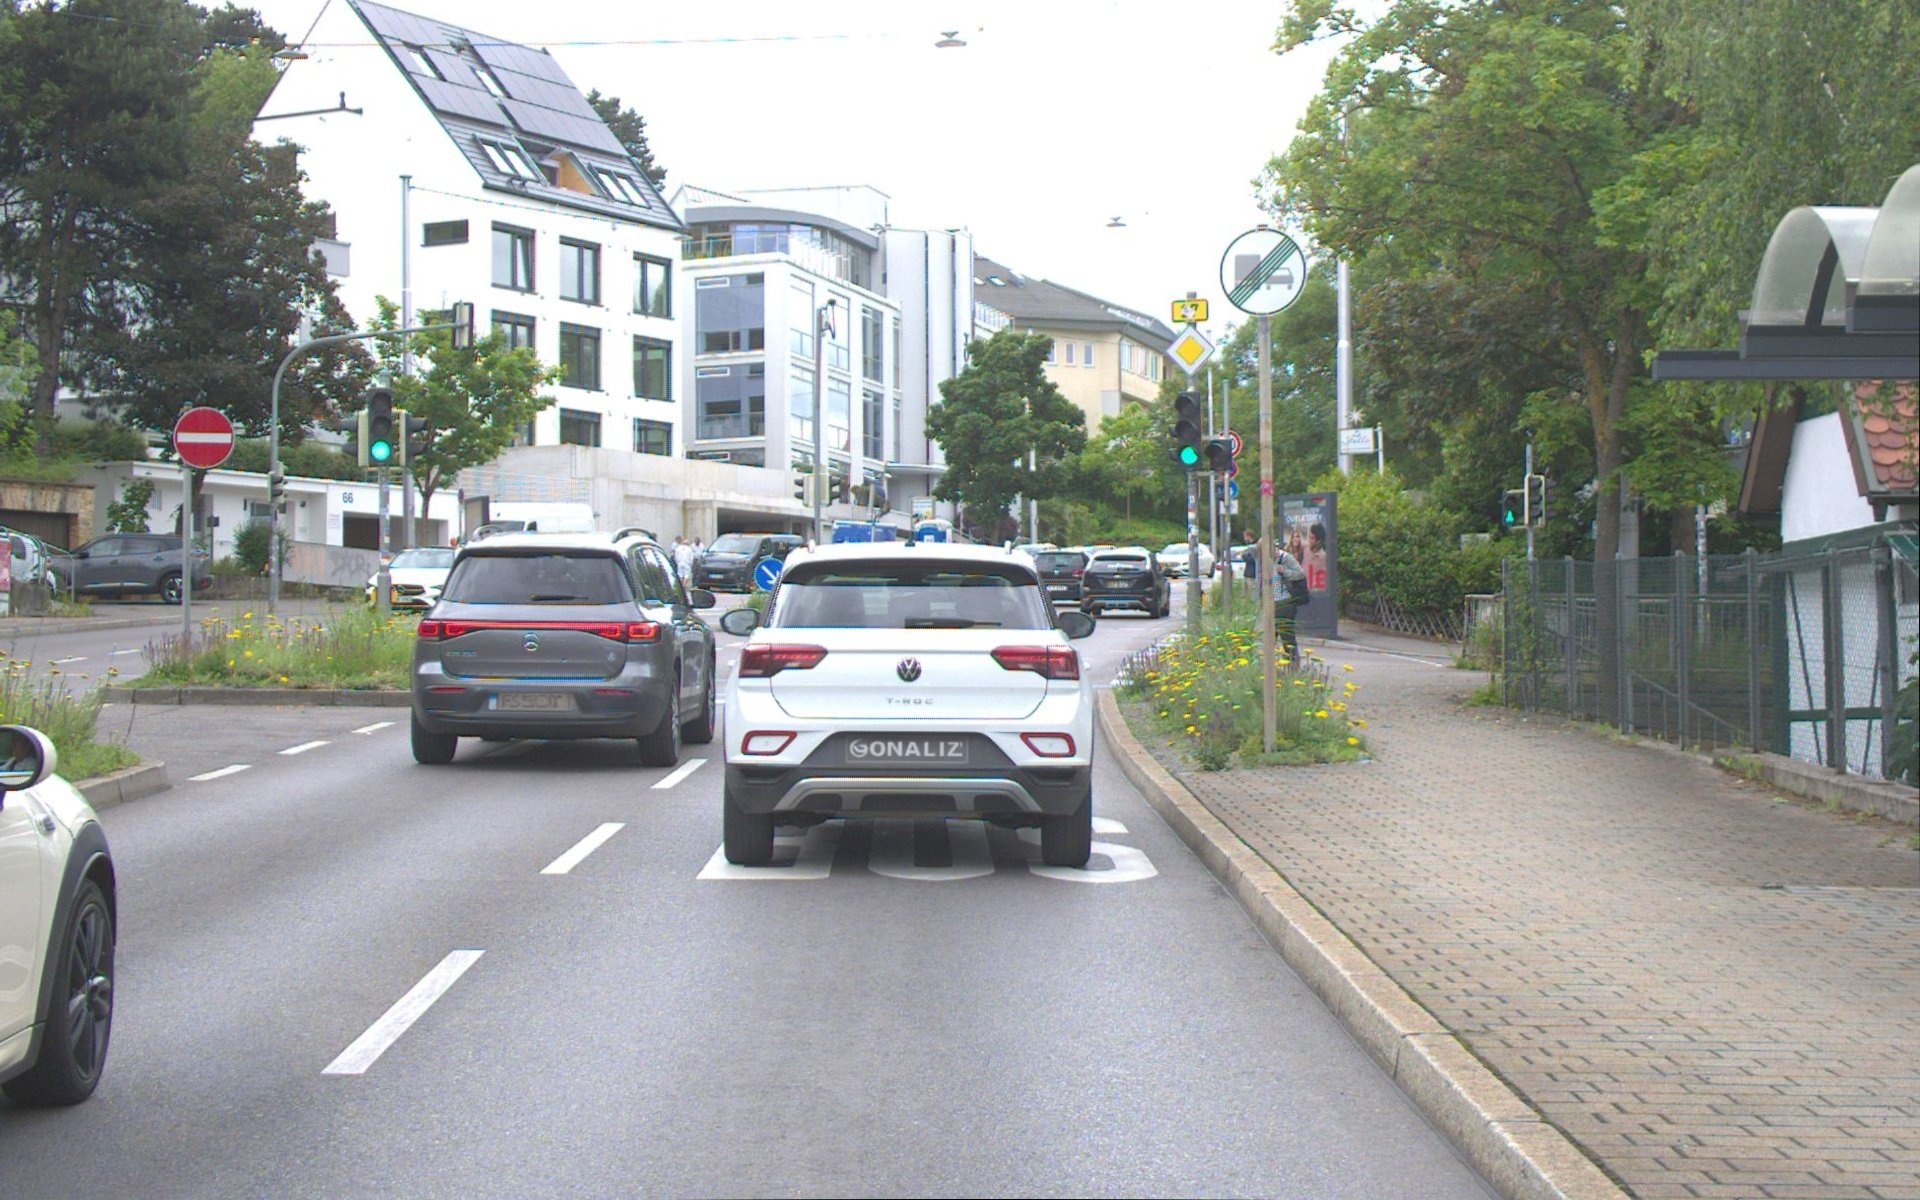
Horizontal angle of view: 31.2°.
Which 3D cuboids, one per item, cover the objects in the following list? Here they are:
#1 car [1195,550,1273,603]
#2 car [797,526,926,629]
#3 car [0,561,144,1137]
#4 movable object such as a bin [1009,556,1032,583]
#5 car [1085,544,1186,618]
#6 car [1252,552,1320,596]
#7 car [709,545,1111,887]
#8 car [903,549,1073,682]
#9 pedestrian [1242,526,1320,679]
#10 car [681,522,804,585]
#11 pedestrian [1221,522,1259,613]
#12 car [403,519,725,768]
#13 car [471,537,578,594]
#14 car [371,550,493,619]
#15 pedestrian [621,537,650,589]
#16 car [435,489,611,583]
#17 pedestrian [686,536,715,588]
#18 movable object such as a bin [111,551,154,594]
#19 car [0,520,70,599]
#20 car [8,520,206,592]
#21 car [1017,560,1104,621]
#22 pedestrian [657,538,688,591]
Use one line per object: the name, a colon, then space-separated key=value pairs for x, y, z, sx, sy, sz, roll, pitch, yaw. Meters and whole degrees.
car: x=7.997 y=-0.693 z=100.016 sx=1.859 sy=1.495 sz=4.054 roll=0 pitch=1 yaw=10
car: x=-1.620 y=-0.398 z=58.024 sx=1.858 sy=1.646 sz=4.636 roll=-1 pitch=1 yaw=2
car: x=-3.153 y=0.622 z=7.961 sx=1.628 sy=1.388 sz=3.566 roll=-1 pitch=1 yaw=1
movable object such as a bin: x=2.266 y=-1.151 z=128.628 sx=0.646 sy=0.986 sz=0.659 roll=1 pitch=1 yaw=25
car: x=3.928 y=-0.421 z=76.372 sx=1.873 sy=1.496 sz=4.554 roll=3 pitch=1 yaw=7
car: x=11.644 y=-0.946 z=122.482 sx=1.859 sy=1.495 sz=4.053 roll=0 pitch=1 yaw=13
car: x=-0.292 y=0.498 z=17.483 sx=1.811 sy=1.534 sz=3.690 roll=-1 pitch=1 yaw=-2
car: x=0.409 y=0.155 z=43.552 sx=1.873 sy=1.496 sz=4.555 roll=3 pitch=1 yaw=3
pedestrian: x=3.563 y=0.029 z=38.151 sx=0.694 sy=1.683 sz=0.619 roll=-1 pitch=0 yaw=21
car: x=-6.958 y=-1.506 z=110.583 sx=1.984 sy=1.960 sz=5.213 roll=0 pitch=1 yaw=20
pedestrian: x=5.692 y=-0.664 z=69.811 sx=0.693 sy=1.827 sz=0.620 roll=1 pitch=1 yaw=7
car: x=-2.814 y=0.255 z=25.380 sx=1.813 sy=1.646 sz=4.636 roll=-1 pitch=1 yaw=0
car: x=-11.426 y=-0.930 z=90.399 sx=1.622 sy=1.460 sz=3.925 roll=0 pitch=1 yaw=11
car: x=-11.090 y=-0.343 z=72.497 sx=1.717 sy=1.388 sz=4.609 roll=0 pitch=1 yaw=2
pedestrian: x=-10.307 y=-1.167 z=109.082 sx=0.626 sy=1.634 sz=0.671 roll=2 pitch=1 yaw=22
car: x=-12.266 y=-1.806 z=97.161 sx=2.233 sy=2.559 sz=7.417 roll=0 pitch=1 yaw=15
pedestrian: x=-8.422 y=-1.234 z=111.540 sx=0.674 sy=1.634 sz=0.672 roll=1 pitch=1 yaw=-33
movable object such as a bin: x=-19.723 y=-0.652 z=81.927 sx=0.640 sy=1.008 sz=0.729 roll=2 pitch=1 yaw=36
car: x=-19.686 y=-0.861 z=70.105 sx=2.701 sy=1.515 sz=1.564 roll=3 pitch=0 yaw=-24
car: x=-18.534 y=-0.965 z=74.857 sx=4.118 sy=1.534 sz=1.599 roll=0 pitch=1 yaw=-11
car: x=2.588 y=-0.257 z=87.822 sx=1.858 sy=1.495 sz=4.055 roll=-1 pitch=1 yaw=7
pedestrian: x=-9.122 y=-1.128 z=109.020 sx=0.674 sy=1.634 sz=0.672 roll=1 pitch=1 yaw=-33
